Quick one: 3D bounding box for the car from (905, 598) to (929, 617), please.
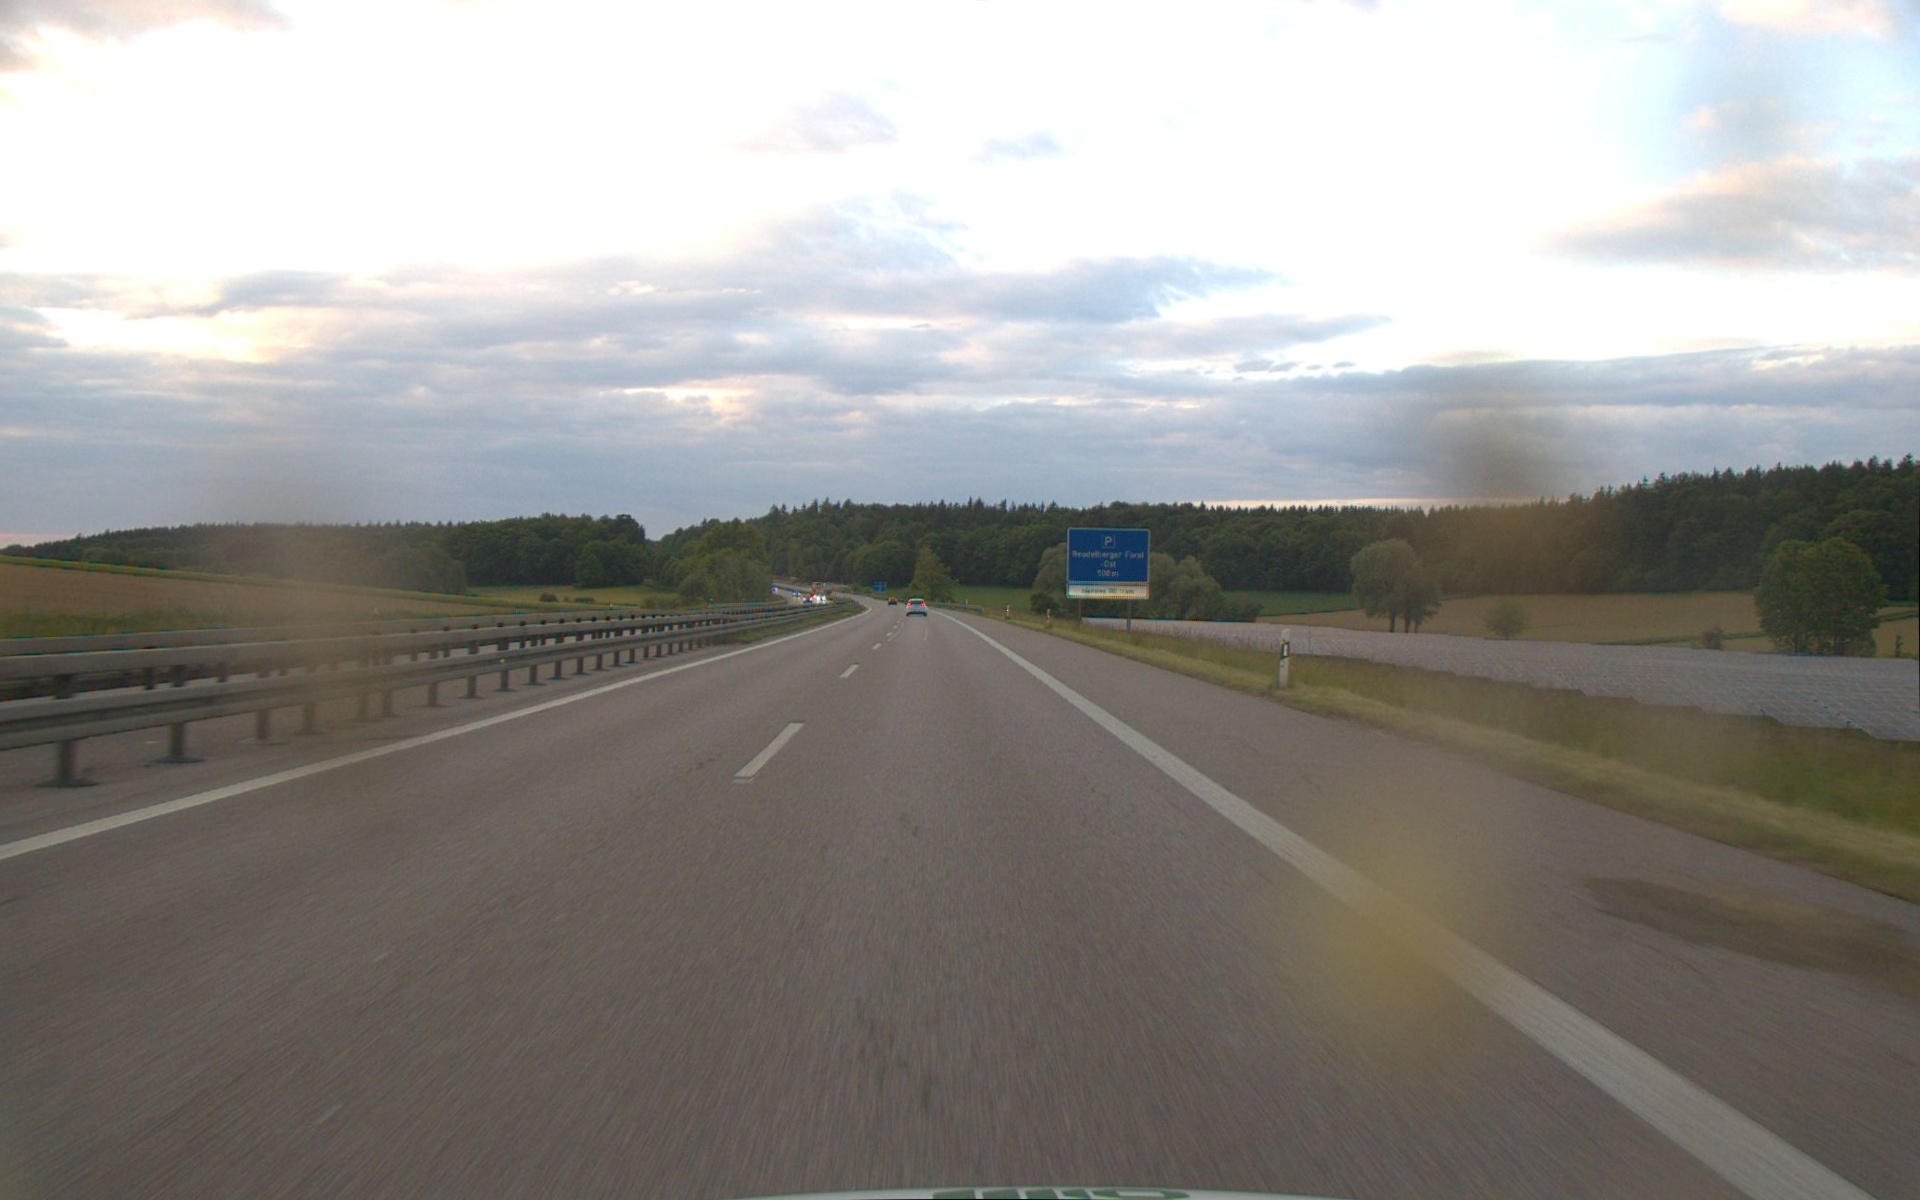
[{"bbox_3d":[-3.695,0.628,142.706,1.913,1.558,4.078,2,0,-3],"label":"car"}]
